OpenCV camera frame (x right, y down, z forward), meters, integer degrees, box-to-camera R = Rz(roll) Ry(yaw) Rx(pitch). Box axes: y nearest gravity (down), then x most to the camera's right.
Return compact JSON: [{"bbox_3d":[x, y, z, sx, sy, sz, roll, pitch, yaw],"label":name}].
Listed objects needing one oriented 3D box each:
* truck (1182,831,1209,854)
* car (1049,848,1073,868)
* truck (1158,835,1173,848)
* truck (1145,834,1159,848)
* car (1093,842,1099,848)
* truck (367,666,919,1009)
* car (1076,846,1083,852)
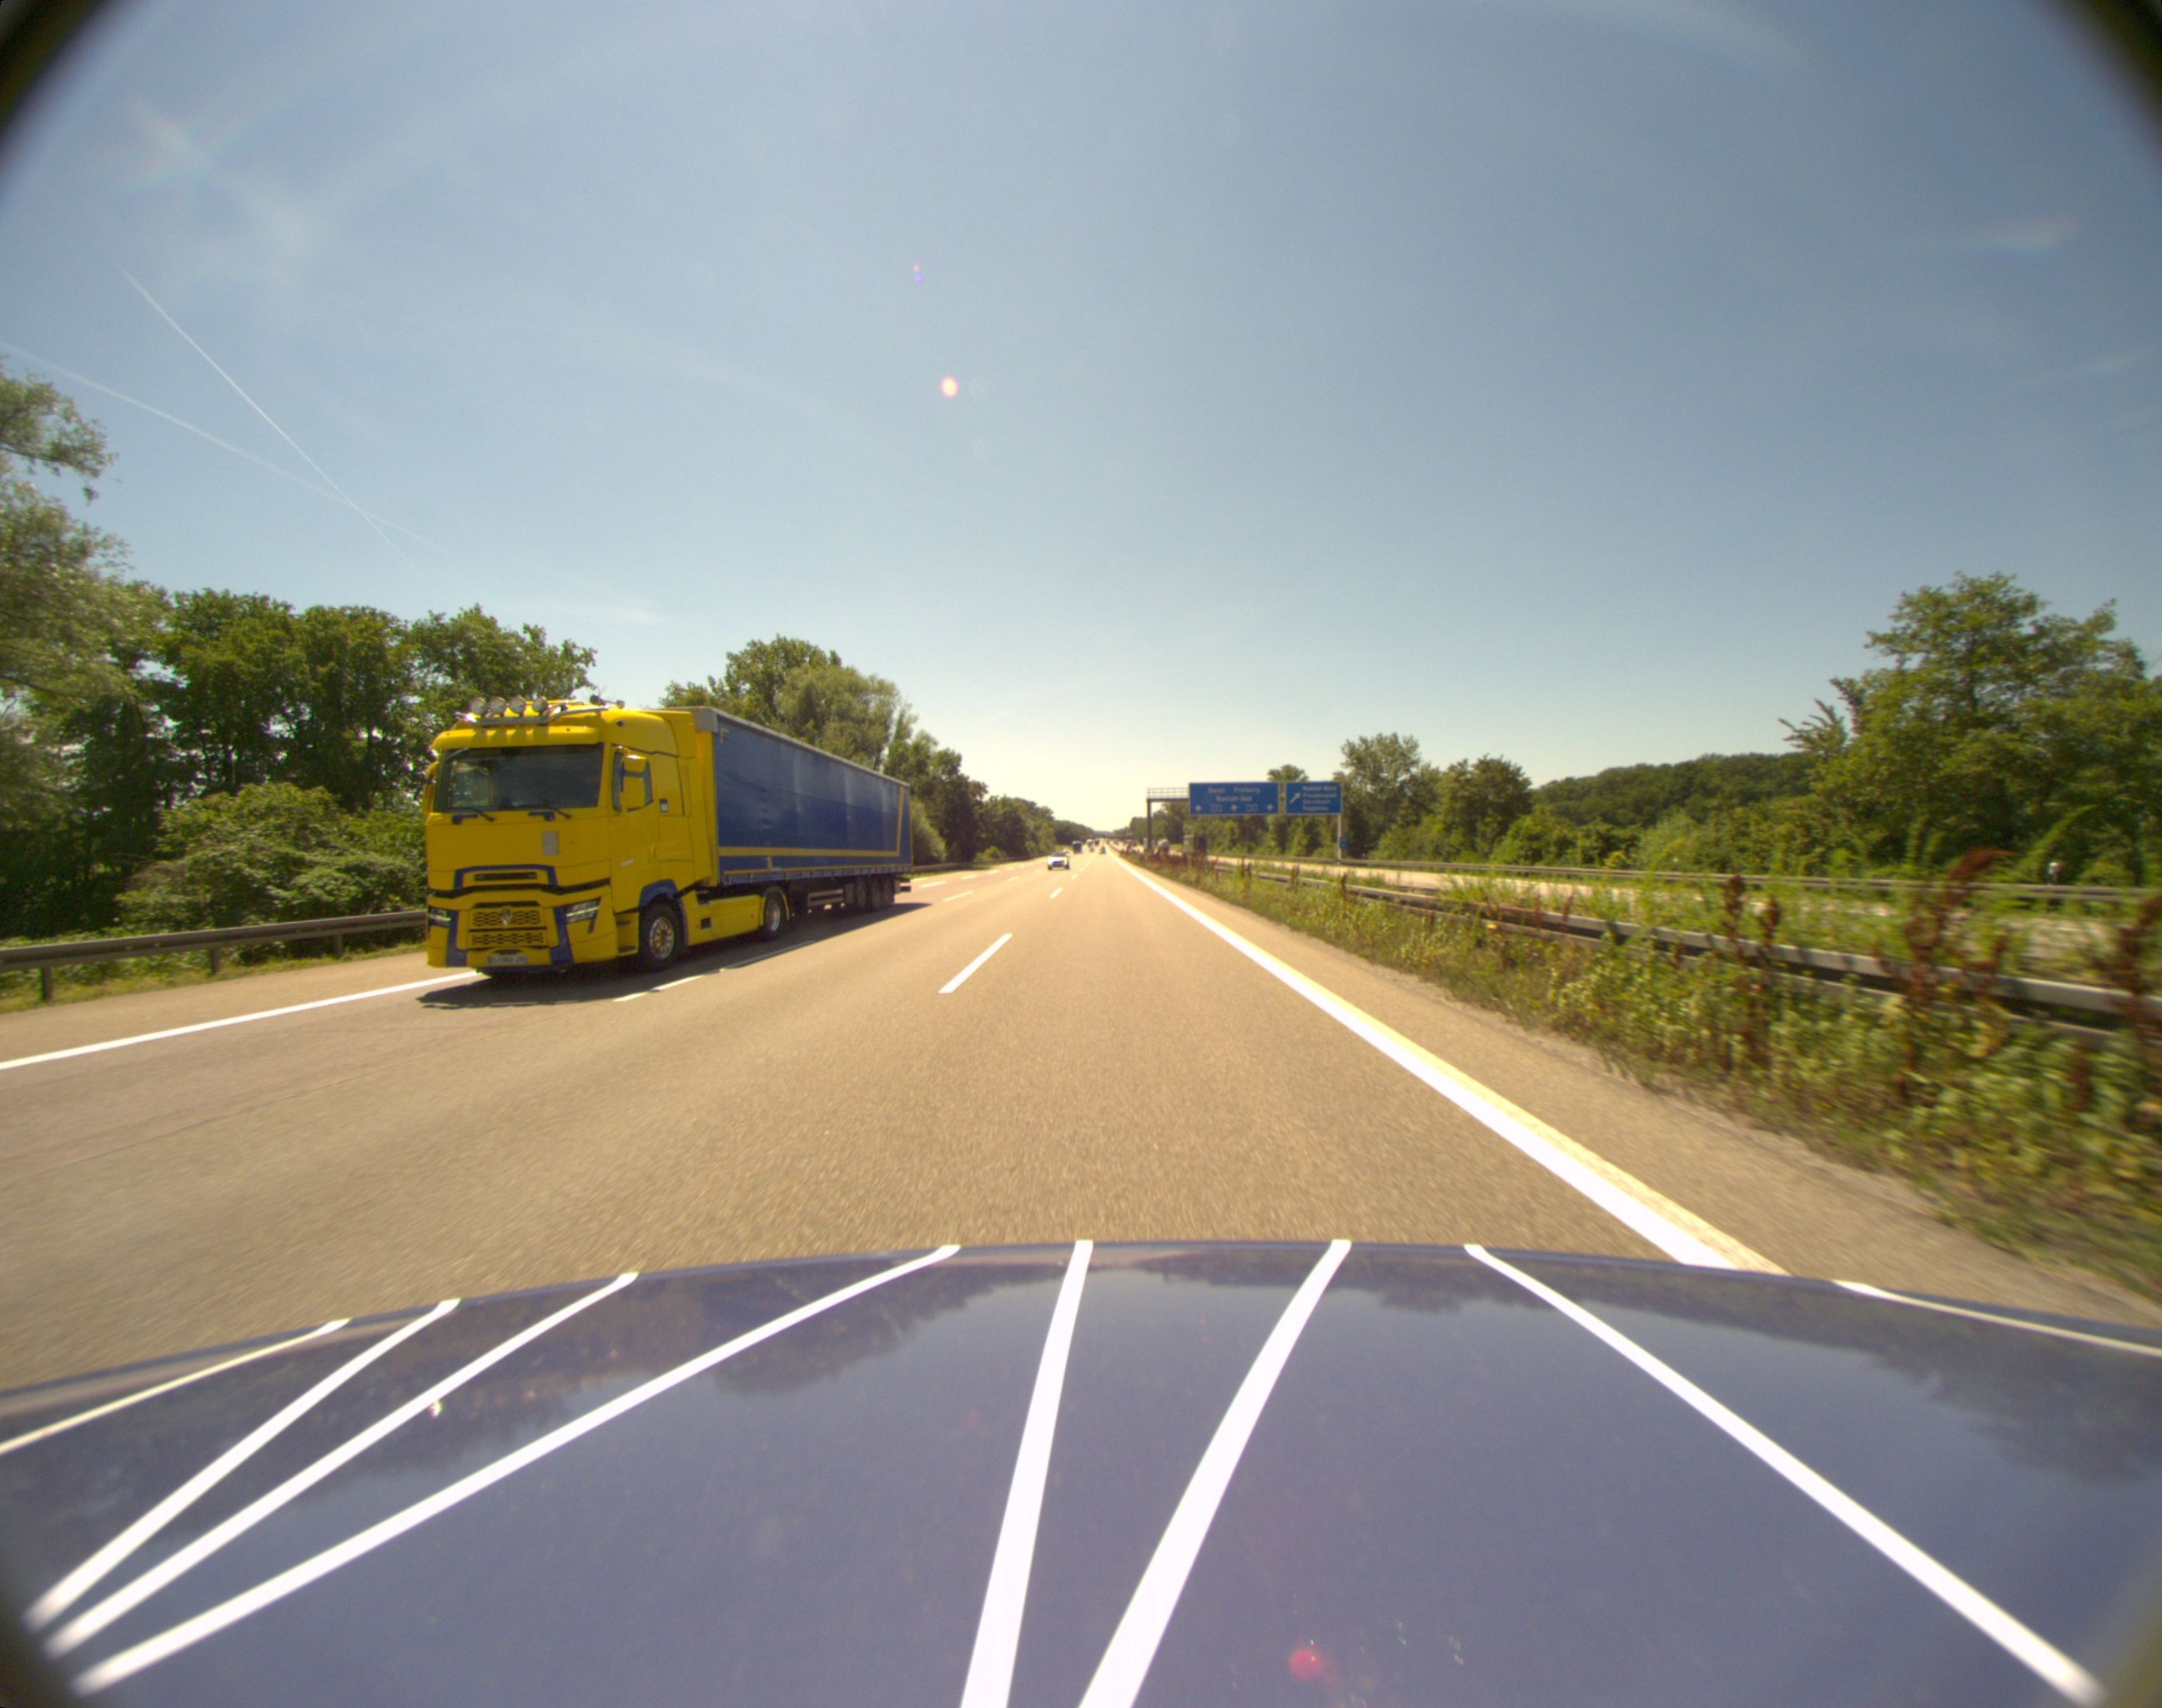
[{"bbox_3d":[22.056,-2.223,147.202,2.962,4.317,18.240,0,1,1],"label":"truck"},{"bbox_3d":[-1.740,0.347,66.809,1.845,1.565,4.000,-2,1,2],"label":"car"},{"bbox_3d":[25.394,-3.769,229.565,2.962,3.995,15.819,0,1,1],"label":"truck"},{"bbox_3d":[21.312,-3.855,228.824,2.962,4.221,17.180,0,1,1],"label":"truck"},{"bbox_3d":[4.887,-2.999,251.581,1.840,2.002,4.000,-1,1,2],"label":"car"},{"bbox_3d":[-7.227,-0.358,17.861,2.852,4.233,16.788,-1,1,1],"label":"truck"},{"bbox_3d":[-0.514,-1.470,224.752,1.998,2.002,3.999,-1,1,0],"label":"car"}]
